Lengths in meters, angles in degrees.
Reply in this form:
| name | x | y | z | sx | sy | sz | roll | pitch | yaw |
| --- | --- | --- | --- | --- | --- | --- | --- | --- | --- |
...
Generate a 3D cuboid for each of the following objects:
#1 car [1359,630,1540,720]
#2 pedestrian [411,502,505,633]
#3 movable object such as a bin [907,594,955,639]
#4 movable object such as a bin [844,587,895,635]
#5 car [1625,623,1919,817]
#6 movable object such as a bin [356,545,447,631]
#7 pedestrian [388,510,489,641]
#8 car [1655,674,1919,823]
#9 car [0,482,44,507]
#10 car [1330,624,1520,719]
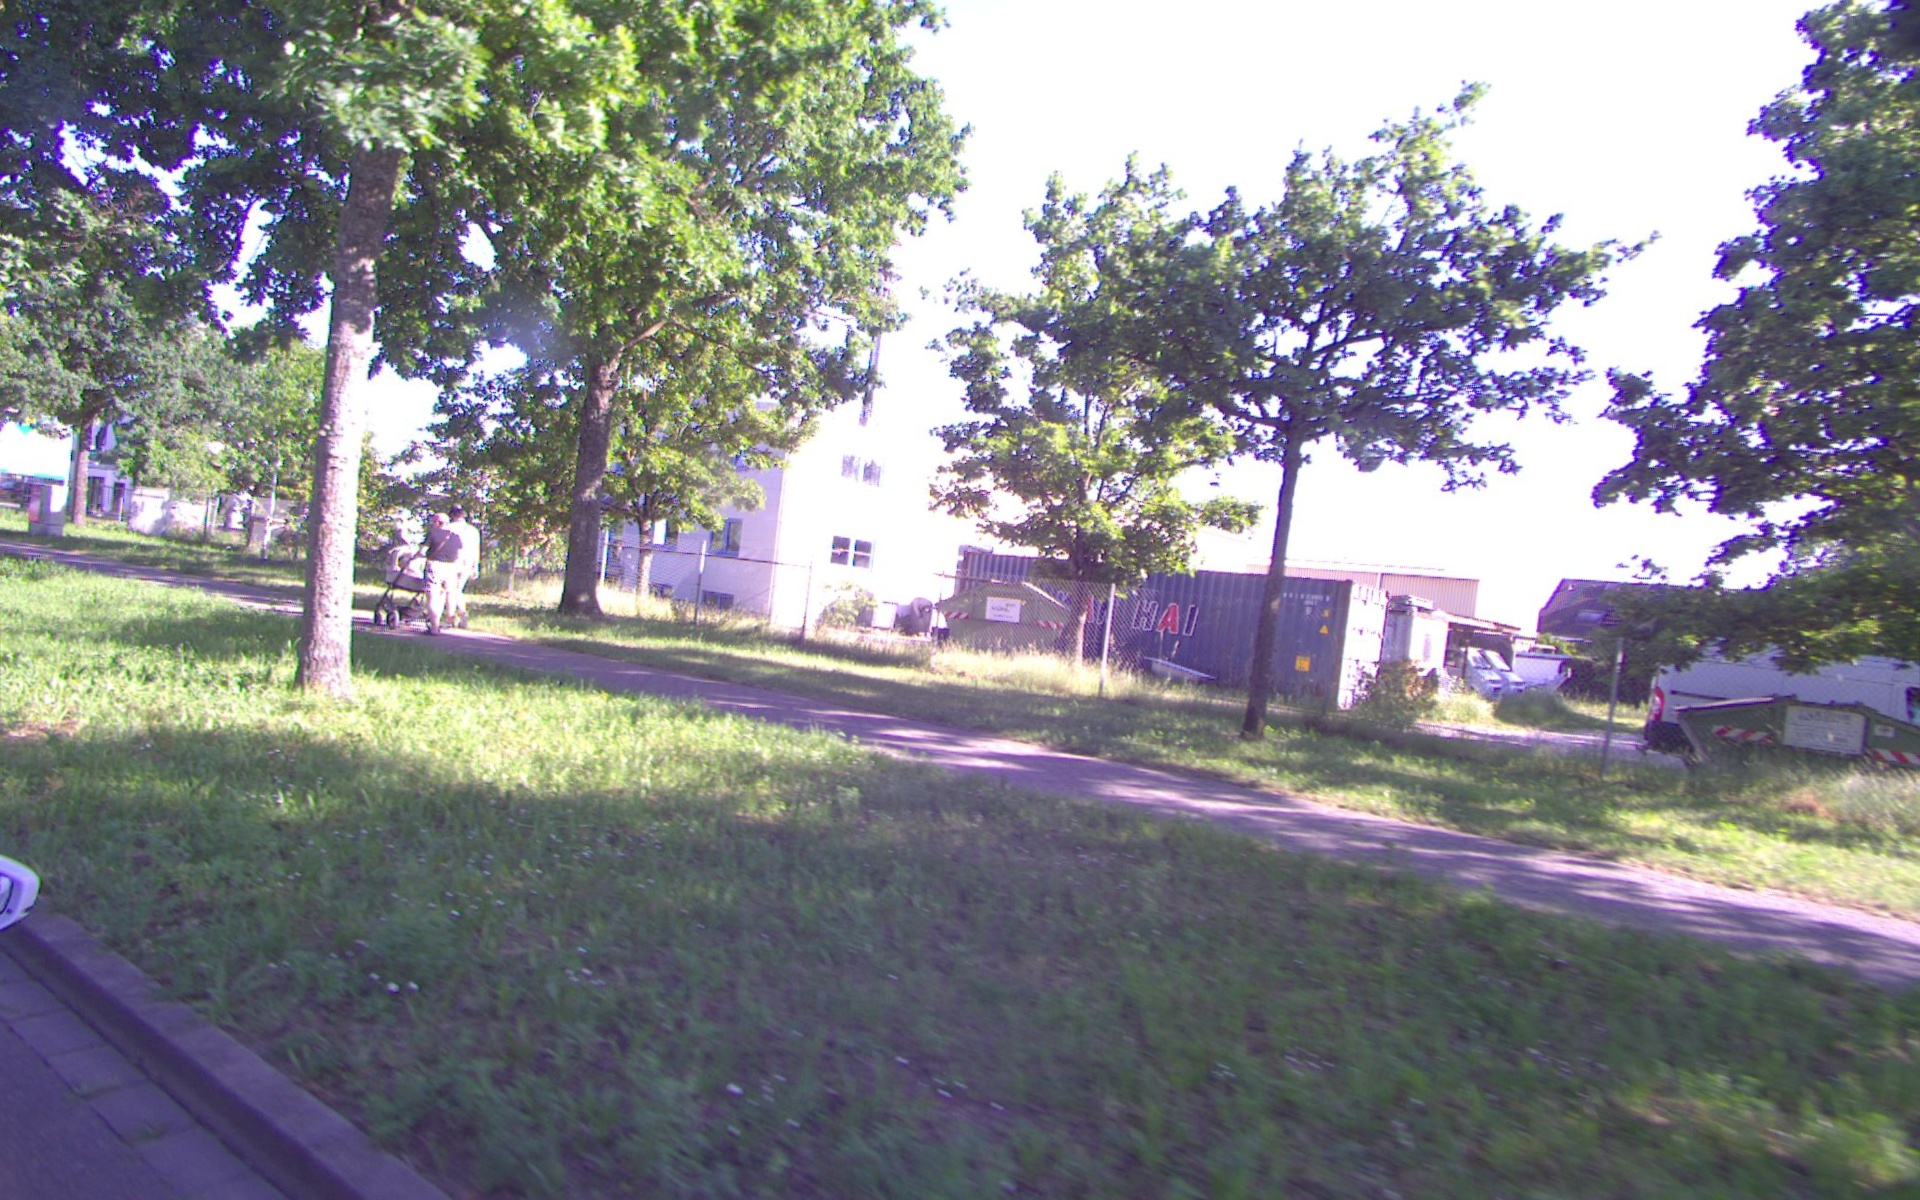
| name | x | y | z | sx | sy | sz | roll | pitch | yaw |
| --- | --- | --- | --- | --- | --- | --- | --- | --- | --- |
| car | 16.665 | 2.517 | 34.437 | 4.945 | 2.087 | 2.081 | 11 | 1 | 44 |
| pedestrian | -7.271 | -0.466 | 14.578 | 0.853 | 1.777 | 0.726 | 7 | 1 | 32 |
| movable object such as a bin | -1.016 | 0.587 | 35.684 | 1.180 | 1.424 | 1.047 | 6 | 1 | -42 |
| movable object such as a bin | -3.011 | 0.377 | 33.594 | 1.180 | 1.424 | 1.047 | 6 | 1 | -42 |
| car | 14.820 | 2.052 | 17.791 | 4.771 | 2.676 | 2.162 | 7 | 1 | 32 |
| movable object such as a bin | -7.760 | -0.164 | 13.973 | 0.853 | 1.095 | 0.726 | 7 | 3 | 32 |
| pedestrian | -7.002 | -0.320 | 13.513 | 0.853 | 1.623 | 0.726 | 7 | 1 | 32 |
| car | 13.164 | 2.247 | 15.696 | 3.537 | 1.685 | 2.007 | 7 | 1 | 32 |
| car | -70.661 | -7.953 | 75.342 | 3.701 | 1.401 | 1.768 | 7 | 0 | 26 |
| car | 15.008 | 2.273 | 32.672 | 4.945 | 2.087 | 2.081 | 11 | 1 | 44 |
